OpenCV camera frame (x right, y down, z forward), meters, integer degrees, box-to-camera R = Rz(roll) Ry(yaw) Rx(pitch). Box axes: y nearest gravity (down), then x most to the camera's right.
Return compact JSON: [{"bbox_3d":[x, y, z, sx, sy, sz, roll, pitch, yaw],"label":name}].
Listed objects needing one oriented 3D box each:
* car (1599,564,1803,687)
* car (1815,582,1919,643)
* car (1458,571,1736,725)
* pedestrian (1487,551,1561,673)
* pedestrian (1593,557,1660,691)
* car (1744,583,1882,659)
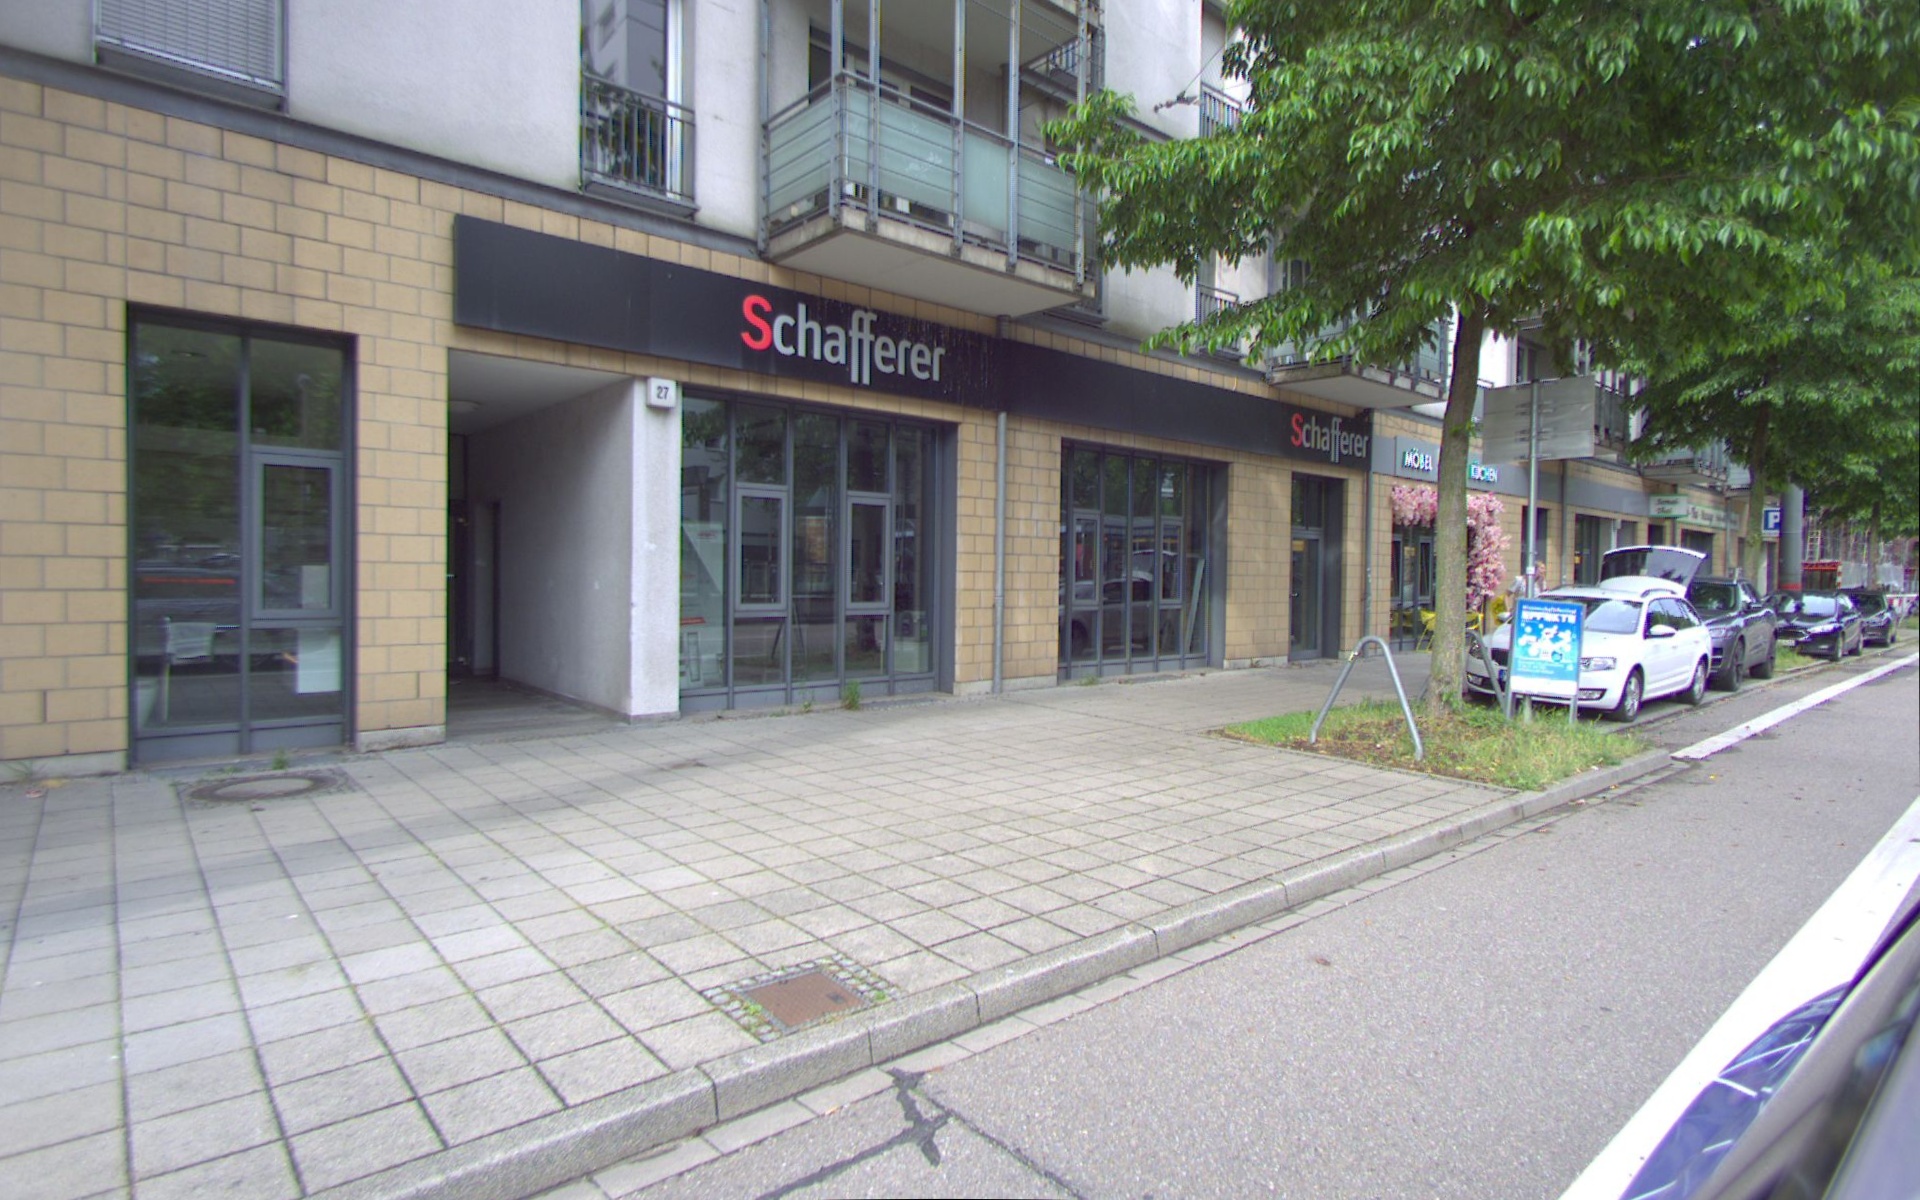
[{"bbox_3d":[11.794,0.316,16.029,3.732,1.630,1.738,-1,5,-41],"label":"car"},{"bbox_3d":[24.155,0.284,26.872,3.603,1.417,1.612,-1,5,-41],"label":"car"},{"bbox_3d":[8.122,0.472,12.756,4.233,1.539,1.738,-1,5,-41],"label":"car"},{"bbox_3d":[8.263,0.155,14.846,0.606,1.738,0.738,1,2,0],"label":"pedestrian"},{"bbox_3d":[9.723,0.331,14.771,0.588,1.907,0.656,0,1,-41],"label":"pedestrian"},{"bbox_3d":[18.634,0.384,22.046,4.095,1.394,1.612,-1,5,-41],"label":"car"}]
